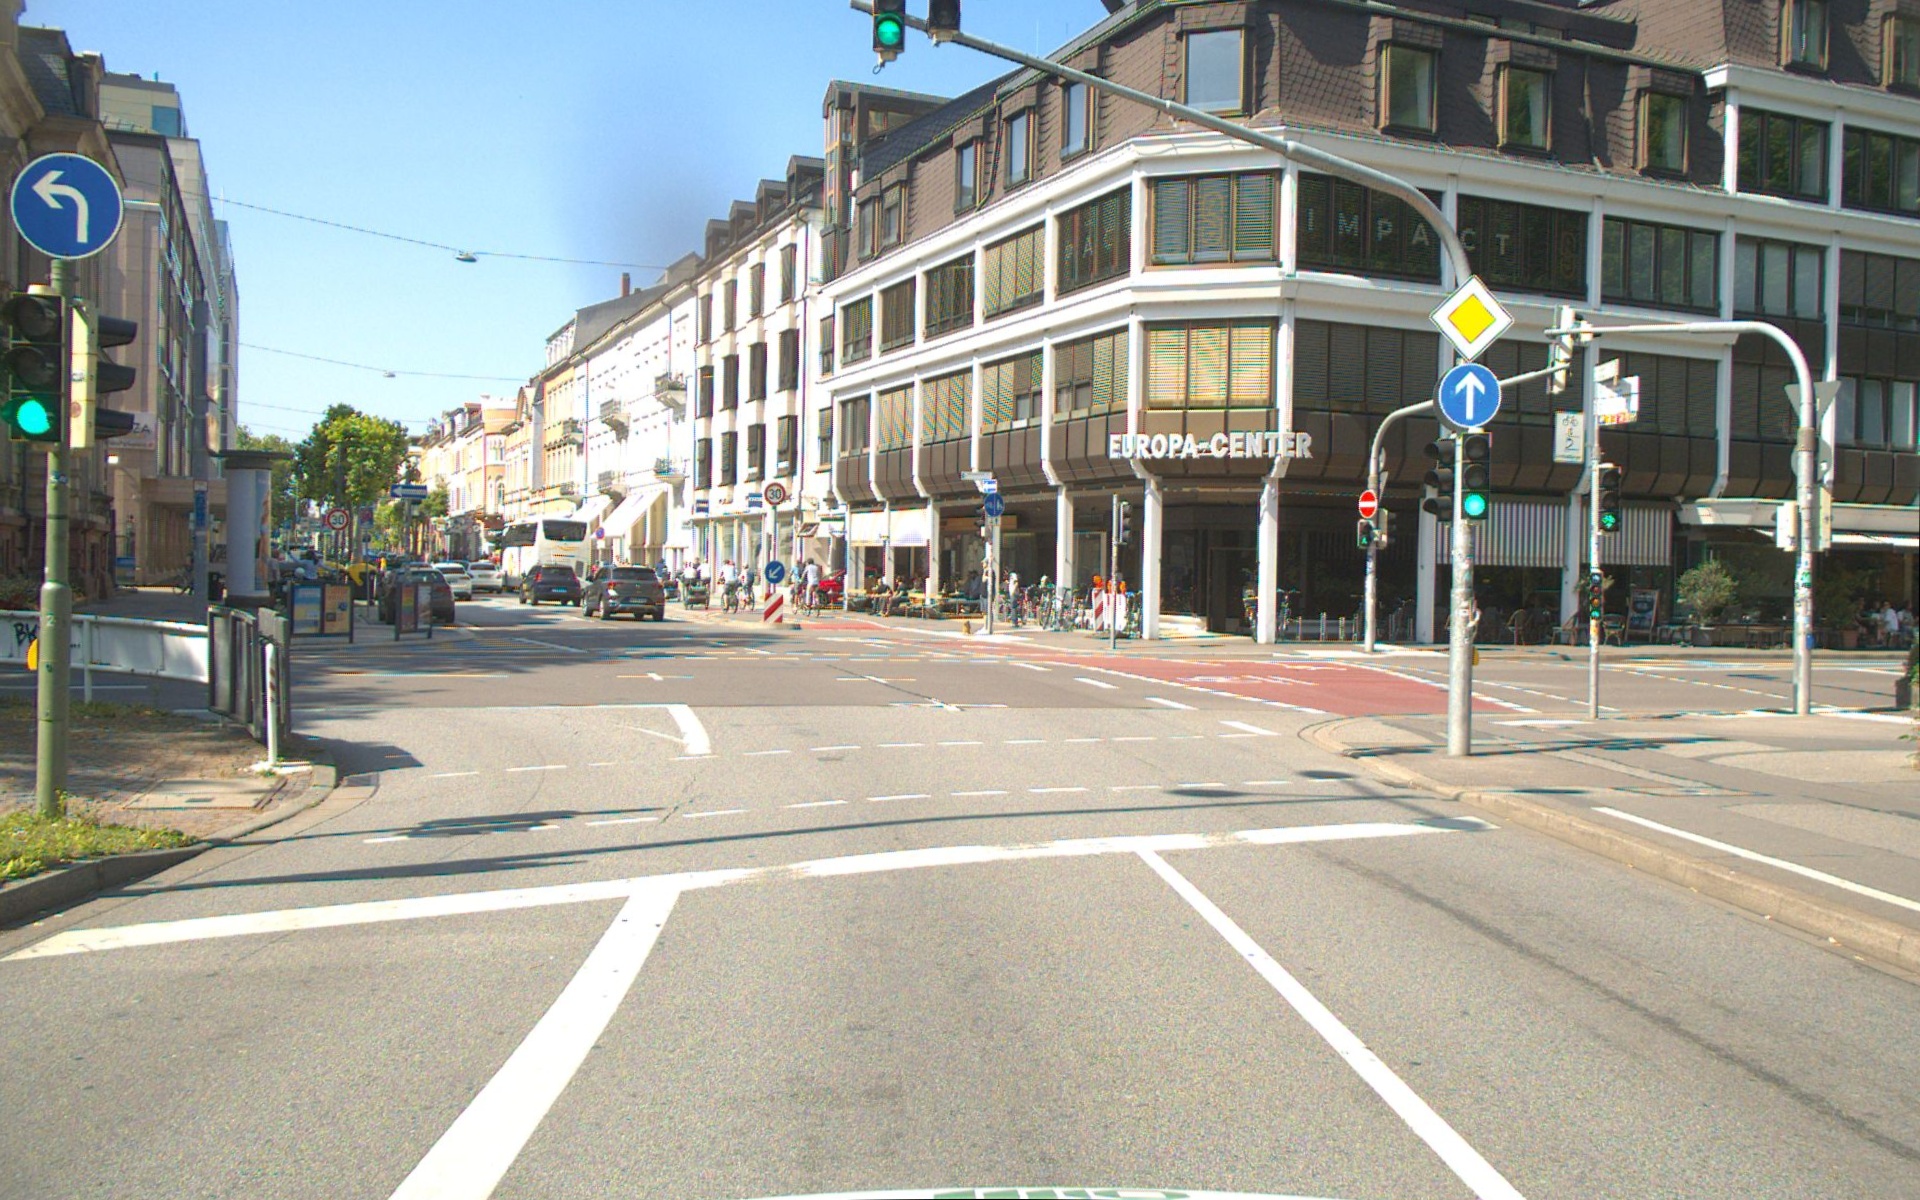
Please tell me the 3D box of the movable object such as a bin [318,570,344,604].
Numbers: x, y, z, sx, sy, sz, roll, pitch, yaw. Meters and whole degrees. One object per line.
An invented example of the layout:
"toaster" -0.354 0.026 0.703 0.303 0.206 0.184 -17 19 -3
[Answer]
"movable object such as a bin" -21.863 -0.444 57.522 0.715 1.117 0.650 2 1 -31

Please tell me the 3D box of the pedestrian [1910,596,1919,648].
"pedestrian" 26.900 0.612 45.661 0.913 1.417 0.752 1 1 -24

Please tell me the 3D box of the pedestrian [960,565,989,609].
"pedestrian" 0.474 -0.411 54.186 0.702 1.421 0.691 0 0 -24

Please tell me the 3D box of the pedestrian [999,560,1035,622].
"pedestrian" 1.573 -0.241 45.606 0.819 1.692 0.694 0 0 -15

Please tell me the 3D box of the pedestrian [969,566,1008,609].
"pedestrian" 0.900 -0.386 53.130 0.884 1.374 1.097 0 0 -24

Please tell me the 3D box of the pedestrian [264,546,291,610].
"pedestrian" -18.314 -0.594 44.404 0.540 1.694 0.933 0 0 -14

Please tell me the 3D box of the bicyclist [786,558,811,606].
"bicyclist" -5.341 -0.600 54.720 0.611 1.556 0.864 1 0 -21

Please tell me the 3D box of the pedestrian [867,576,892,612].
"pedestrian" -2.647 -0.193 54.281 0.699 1.193 0.694 0 0 -14

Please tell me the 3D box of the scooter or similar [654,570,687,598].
"scooter or similar" -12.045 -0.680 68.885 1.107 1.121 1.077 1 1 -25

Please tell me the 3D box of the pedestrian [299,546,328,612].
"pedestrian" -17.292 -0.554 44.232 0.684 1.725 0.686 0 0 -21

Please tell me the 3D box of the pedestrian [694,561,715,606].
"pedestrian" -9.932 -0.635 64.363 0.611 1.749 0.830 1 0 -22

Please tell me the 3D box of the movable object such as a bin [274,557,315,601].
"movable object such as a bin" -23.596 -0.762 58.664 1.190 1.476 1.358 2 1 -17

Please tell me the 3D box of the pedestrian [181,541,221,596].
"pedestrian" -25.390 -1.056 55.331 0.994 1.804 0.773 1 1 -43

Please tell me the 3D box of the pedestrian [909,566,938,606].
"pedestrian" -1.286 -0.487 58.528 0.865 1.391 0.533 1 1 -24

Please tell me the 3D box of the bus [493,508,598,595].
"bus" -20.368 -2.335 80.669 2.843 3.807 12.336 3 1 -24

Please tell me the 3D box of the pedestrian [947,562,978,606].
"pedestrian" 0.093 -0.526 54.932 0.802 1.421 0.691 1 0 -25

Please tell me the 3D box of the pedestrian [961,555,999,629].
"pedestrian" 0.511 -0.201 42.329 0.819 1.867 0.694 0 0 -15

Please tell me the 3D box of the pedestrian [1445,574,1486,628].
"pedestrian" 13.194 0.021 43.181 0.811 1.358 0.970 2 1 31

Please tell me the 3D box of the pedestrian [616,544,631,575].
"pedestrian" -18.117 -2.156 89.040 0.636 1.645 0.817 0 -1 -20

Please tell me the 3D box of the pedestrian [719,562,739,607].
"pedestrian" -9.127 -0.629 65.313 0.611 1.749 0.830 1 0 -20

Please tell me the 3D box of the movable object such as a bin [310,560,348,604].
"movable object such as a bin" -22.471 -0.657 58.899 1.106 1.476 1.432 2 1 -17

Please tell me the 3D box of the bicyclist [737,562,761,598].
"bicyclist" -7.698 -0.736 60.399 0.612 1.319 0.860 1 0 -24

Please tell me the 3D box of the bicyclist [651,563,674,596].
"bicyclist" -12.651 -0.879 70.382 0.777 1.403 0.717 1 0 -25

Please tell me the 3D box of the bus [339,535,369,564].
"bus" -78.956 -6.622 215.402 2.736 3.667 8.901 0 2 -26

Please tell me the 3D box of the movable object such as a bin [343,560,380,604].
"movable object such as a bin" -21.413 -0.654 59.242 1.106 1.476 1.432 2 1 -17

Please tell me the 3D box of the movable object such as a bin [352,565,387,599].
"movable object such as a bin" -23.428 -0.716 65.644 1.260 1.322 0.847 1 1 -23

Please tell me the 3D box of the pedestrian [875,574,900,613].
"pedestrian" -2.349 -0.215 53.483 0.699 1.238 0.694 0 0 -14

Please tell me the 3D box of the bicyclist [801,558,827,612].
"bicyclist" -4.588 -0.474 51.856 0.683 1.654 0.832 0 1 -15

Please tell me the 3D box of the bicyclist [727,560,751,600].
"bicyclist" -7.724 -0.709 57.832 0.612 1.378 0.840 1 0 -24

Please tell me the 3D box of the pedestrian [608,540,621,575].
"pedestrian" -18.371 -2.265 87.939 0.565 1.809 1.014 0 0 -20

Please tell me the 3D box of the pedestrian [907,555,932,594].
"pedestrian" -1.464 -0.905 59.535 0.734 1.391 0.580 1 1 -24

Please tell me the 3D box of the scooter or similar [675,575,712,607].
"scooter or similar" -9.898 -0.335 61.407 0.949 1.155 1.573 1 1 -26

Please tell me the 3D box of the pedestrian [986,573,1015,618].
"pedestrian" 1.282 -0.133 52.255 0.702 1.421 0.691 0 0 -24

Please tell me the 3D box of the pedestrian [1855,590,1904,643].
"pedestrian" 24.969 0.446 44.927 0.913 1.417 0.752 1 1 -24

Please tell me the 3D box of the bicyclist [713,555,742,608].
"bicyclist" -7.808 -0.622 55.411 0.685 1.702 0.910 3 1 -22
